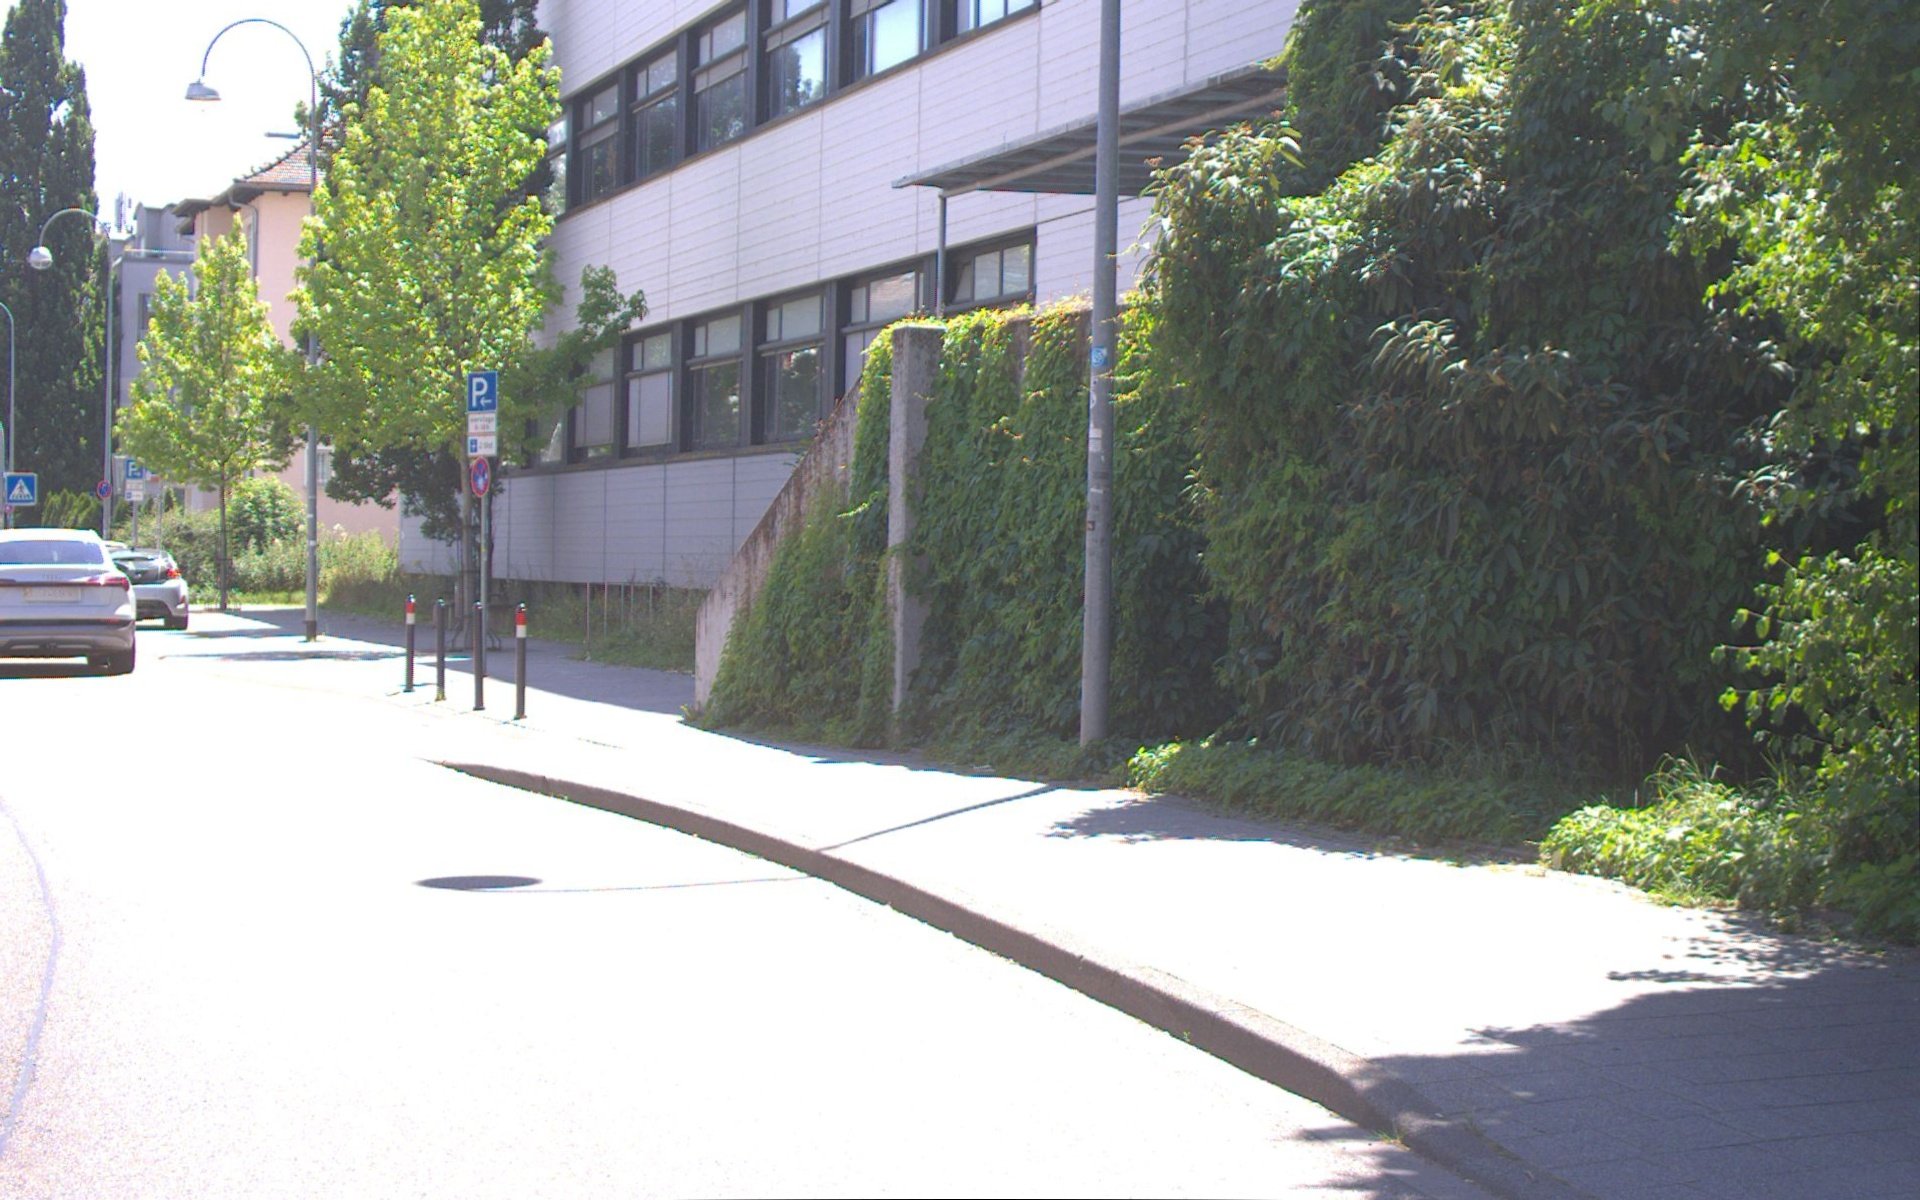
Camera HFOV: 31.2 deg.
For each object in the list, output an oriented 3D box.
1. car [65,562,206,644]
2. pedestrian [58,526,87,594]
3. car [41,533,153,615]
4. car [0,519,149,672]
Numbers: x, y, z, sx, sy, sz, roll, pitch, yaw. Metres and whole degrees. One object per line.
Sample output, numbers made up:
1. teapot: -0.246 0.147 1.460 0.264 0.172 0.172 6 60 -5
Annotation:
1. car: -14.529 0.026 60.433 1.862 1.368 4.001 0 1 -22
2. pedestrian: -22.769 -1.027 88.182 0.637 1.752 0.617 0 1 -23
3. car: -16.538 -0.532 65.755 1.658 1.483 4.347 -1 2 -19
4. car: -10.541 -0.095 39.545 1.935 1.608 4.473 -2 2 -18
